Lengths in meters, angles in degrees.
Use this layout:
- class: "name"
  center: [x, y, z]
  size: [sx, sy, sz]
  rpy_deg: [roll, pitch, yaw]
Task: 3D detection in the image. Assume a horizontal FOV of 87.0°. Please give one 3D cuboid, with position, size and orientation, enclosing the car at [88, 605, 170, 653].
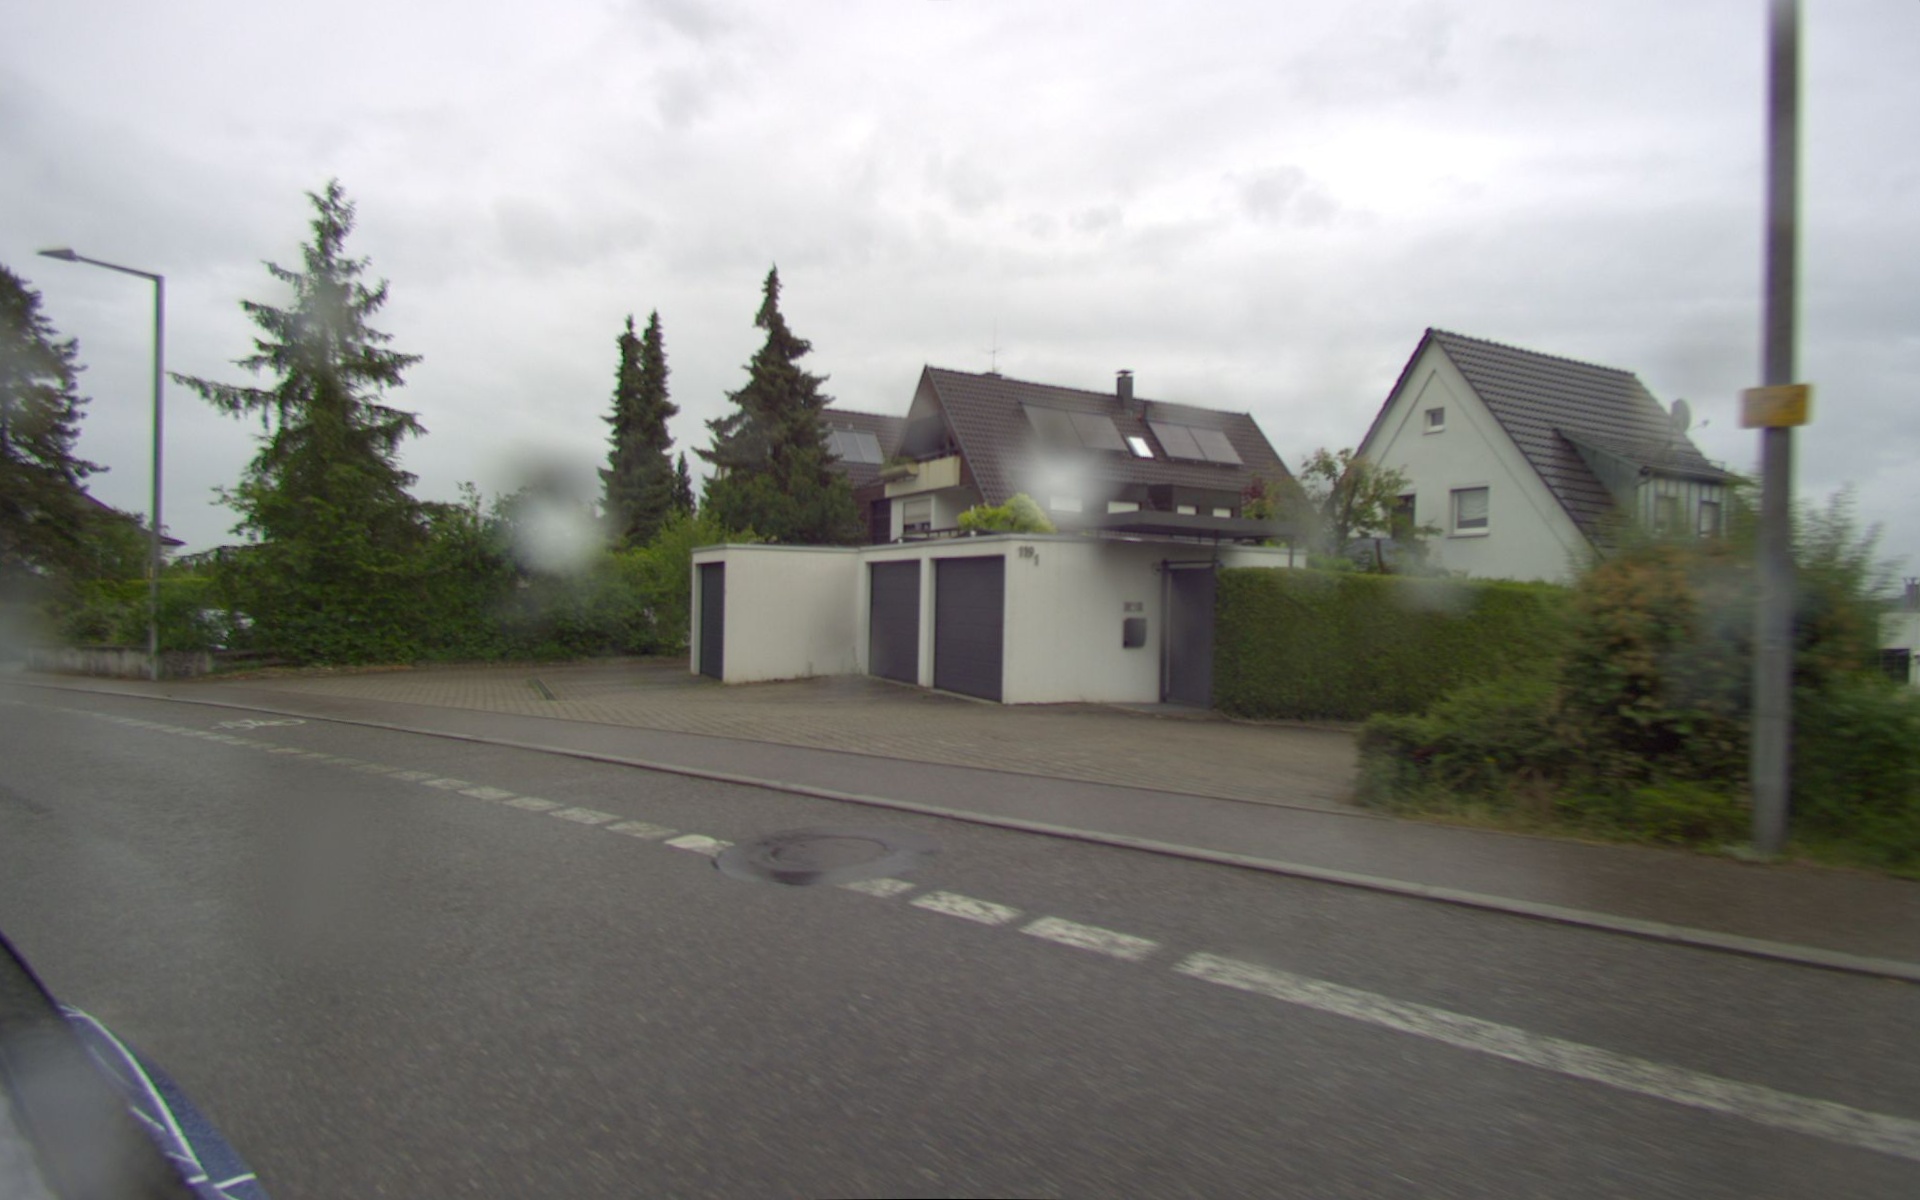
- class: "car"
  center: [-29.318, 1.001, 35.670]
  size: [1.970, 1.586, 4.004]
  rpy_deg: [0, -1, -43]
